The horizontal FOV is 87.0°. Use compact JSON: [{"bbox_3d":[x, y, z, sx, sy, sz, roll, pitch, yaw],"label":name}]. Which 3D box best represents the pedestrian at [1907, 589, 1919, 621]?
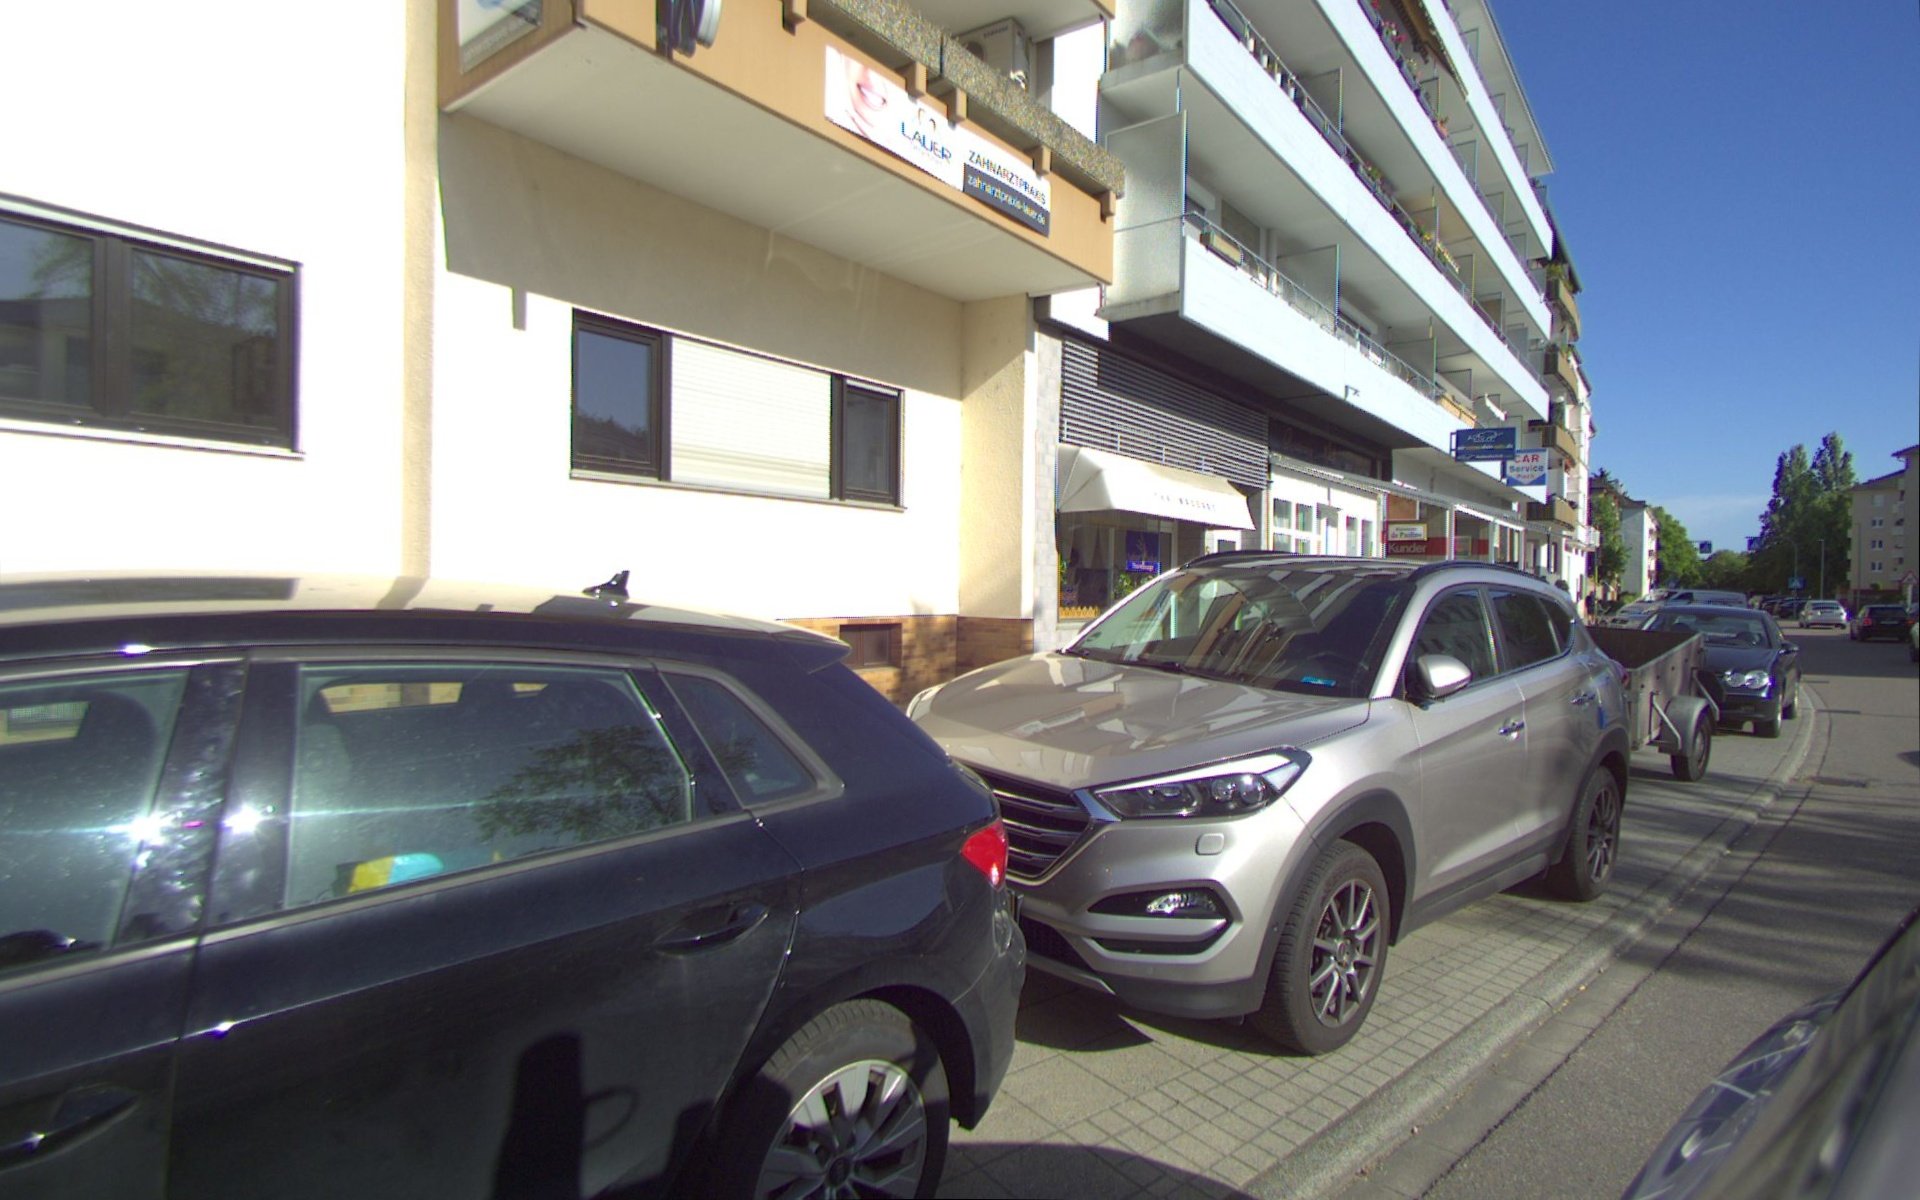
[{"bbox_3d":[65.195,0.344,68.847,0.765,2.148,0.953,0,-1,16],"label":"pedestrian"}]

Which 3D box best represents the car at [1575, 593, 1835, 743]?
[{"bbox_3d":[9.593,0.680,12.846,1.972,1.468,4.923,1,2,45],"label":"car"}]

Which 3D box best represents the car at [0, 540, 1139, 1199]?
[{"bbox_3d":[-1.735,0.628,1.610,4.241,1.426,1.720,0,3,-43],"label":"car"}]

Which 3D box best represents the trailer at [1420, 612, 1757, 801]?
[{"bbox_3d":[5.343,0.752,8.513,2.891,1.193,1.606,-1,2,-40],"label":"trailer"}]

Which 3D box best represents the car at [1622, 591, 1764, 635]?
[{"bbox_3d":[27.734,0.462,38.347,4.239,1.531,1.760,1,2,-7],"label":"car"}]

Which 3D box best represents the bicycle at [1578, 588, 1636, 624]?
[{"bbox_3d":[23.721,0.224,37.103,2.215,1.270,0.707,1,-1,-25],"label":"bicycle"}]

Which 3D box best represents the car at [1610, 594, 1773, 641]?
[{"bbox_3d":[25.561,0.592,35.435,4.554,1.484,1.693,1,2,-5],"label":"car"}]

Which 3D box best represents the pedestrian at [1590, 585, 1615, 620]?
[{"bbox_3d":[30.241,0.099,47.614,0.832,1.613,0.875,2,2,42],"label":"pedestrian"}]

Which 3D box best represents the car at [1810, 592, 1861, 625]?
[{"bbox_3d":[46.496,0.416,53.796,1.724,1.503,4.049,7,4,38],"label":"car"}]

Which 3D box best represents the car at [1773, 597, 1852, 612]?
[{"bbox_3d":[69.234,0.335,82.257,4.488,1.182,1.995,-1,0,9],"label":"car"}]

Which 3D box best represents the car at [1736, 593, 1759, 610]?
[{"bbox_3d":[83.991,0.142,107.913,1.832,1.522,4.085,1,4,37],"label":"car"}]

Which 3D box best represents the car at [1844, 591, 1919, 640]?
[{"bbox_3d":[36.248,0.546,39.793,1.736,1.530,3.685,5,6,35],"label":"car"}]

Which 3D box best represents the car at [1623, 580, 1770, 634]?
[{"bbox_3d":[29.917,0.261,41.208,4.440,1.920,2.053,2,3,-3],"label":"car"}]

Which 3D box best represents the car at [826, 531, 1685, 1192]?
[{"bbox_3d":[1.750,0.548,4.742,4.484,1.673,1.819,-3,3,-43],"label":"car"}]
